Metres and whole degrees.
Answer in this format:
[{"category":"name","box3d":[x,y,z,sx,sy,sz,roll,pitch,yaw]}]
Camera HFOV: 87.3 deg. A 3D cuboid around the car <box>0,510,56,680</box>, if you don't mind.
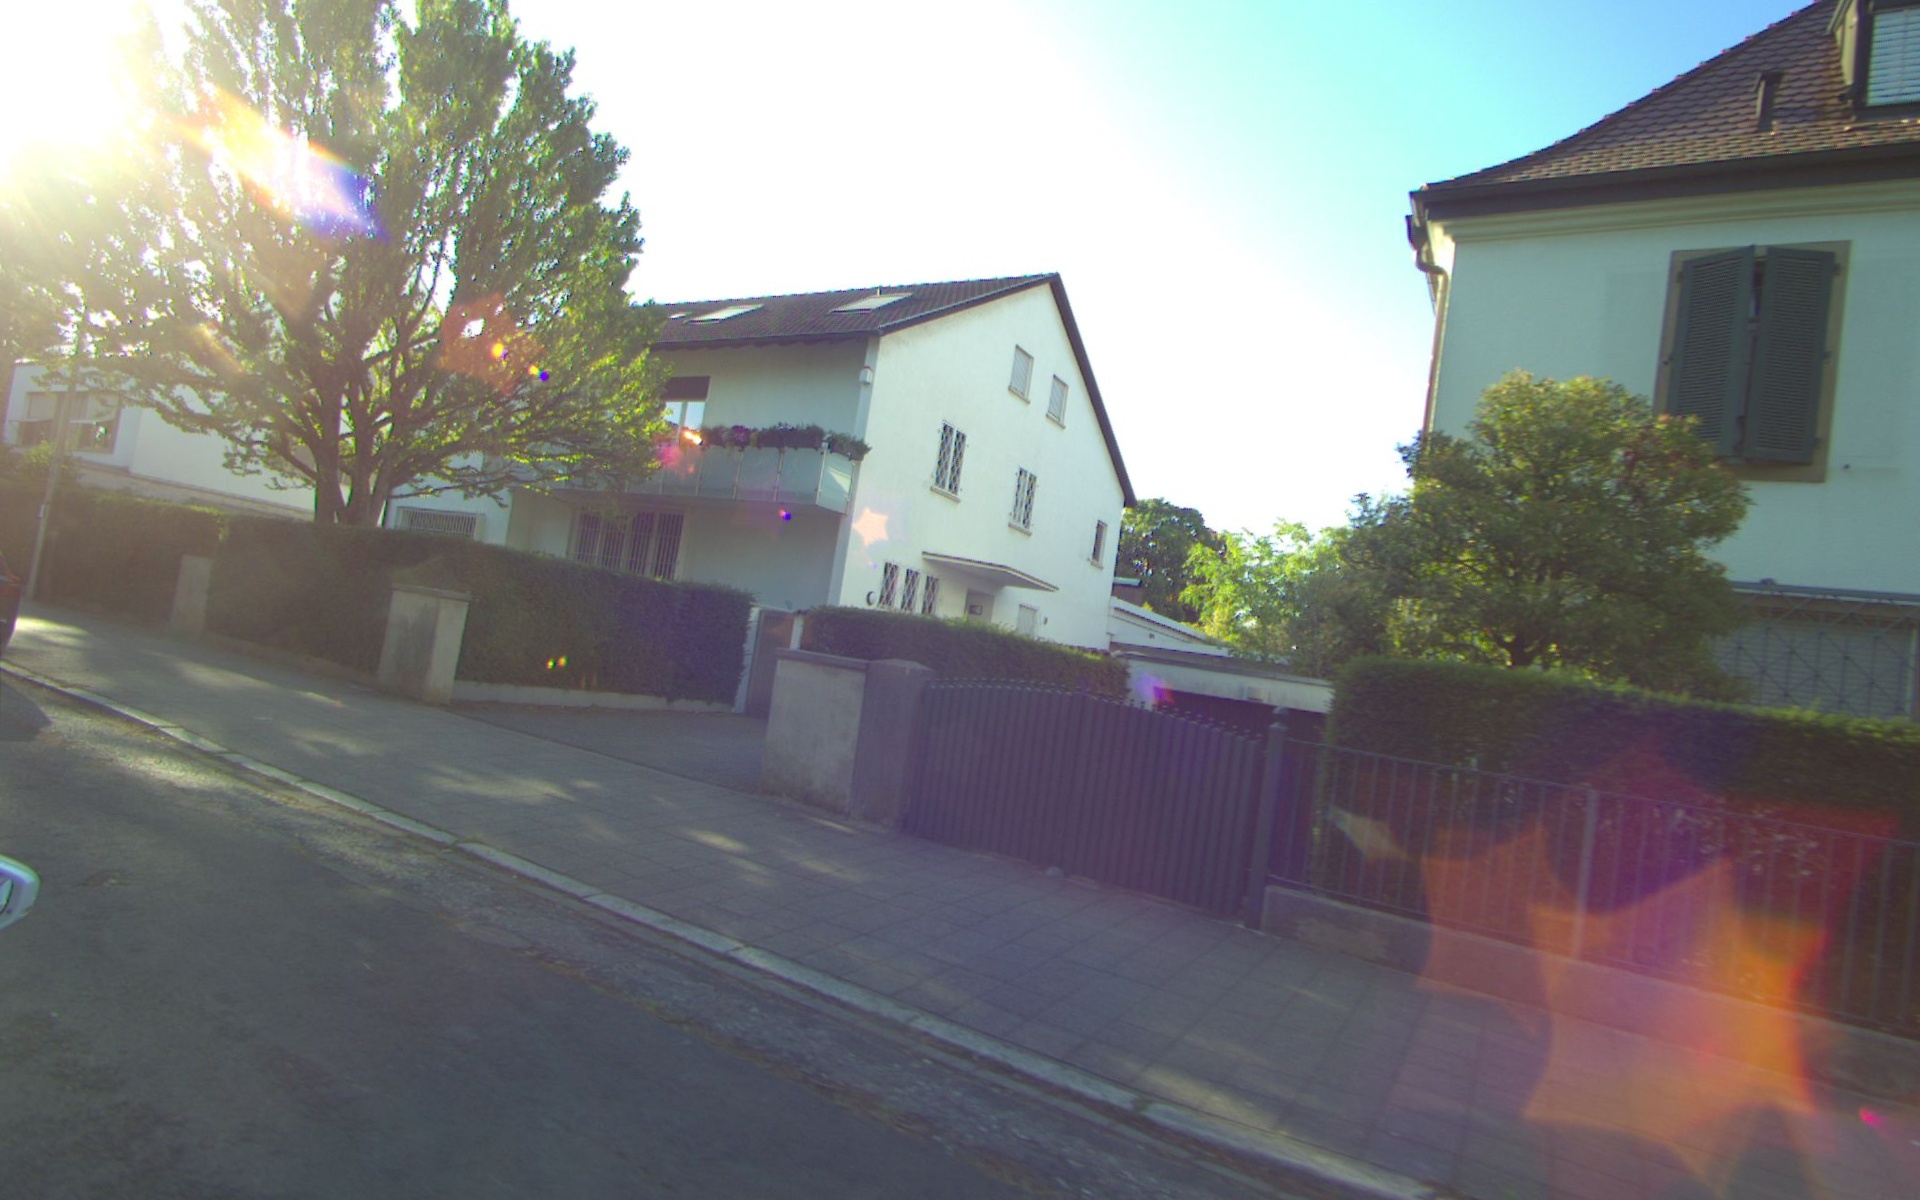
[{"category":"car","box3d":[-10.939,-0.338,9.740,4.596,1.507,1.800,6,-5,31]}]
